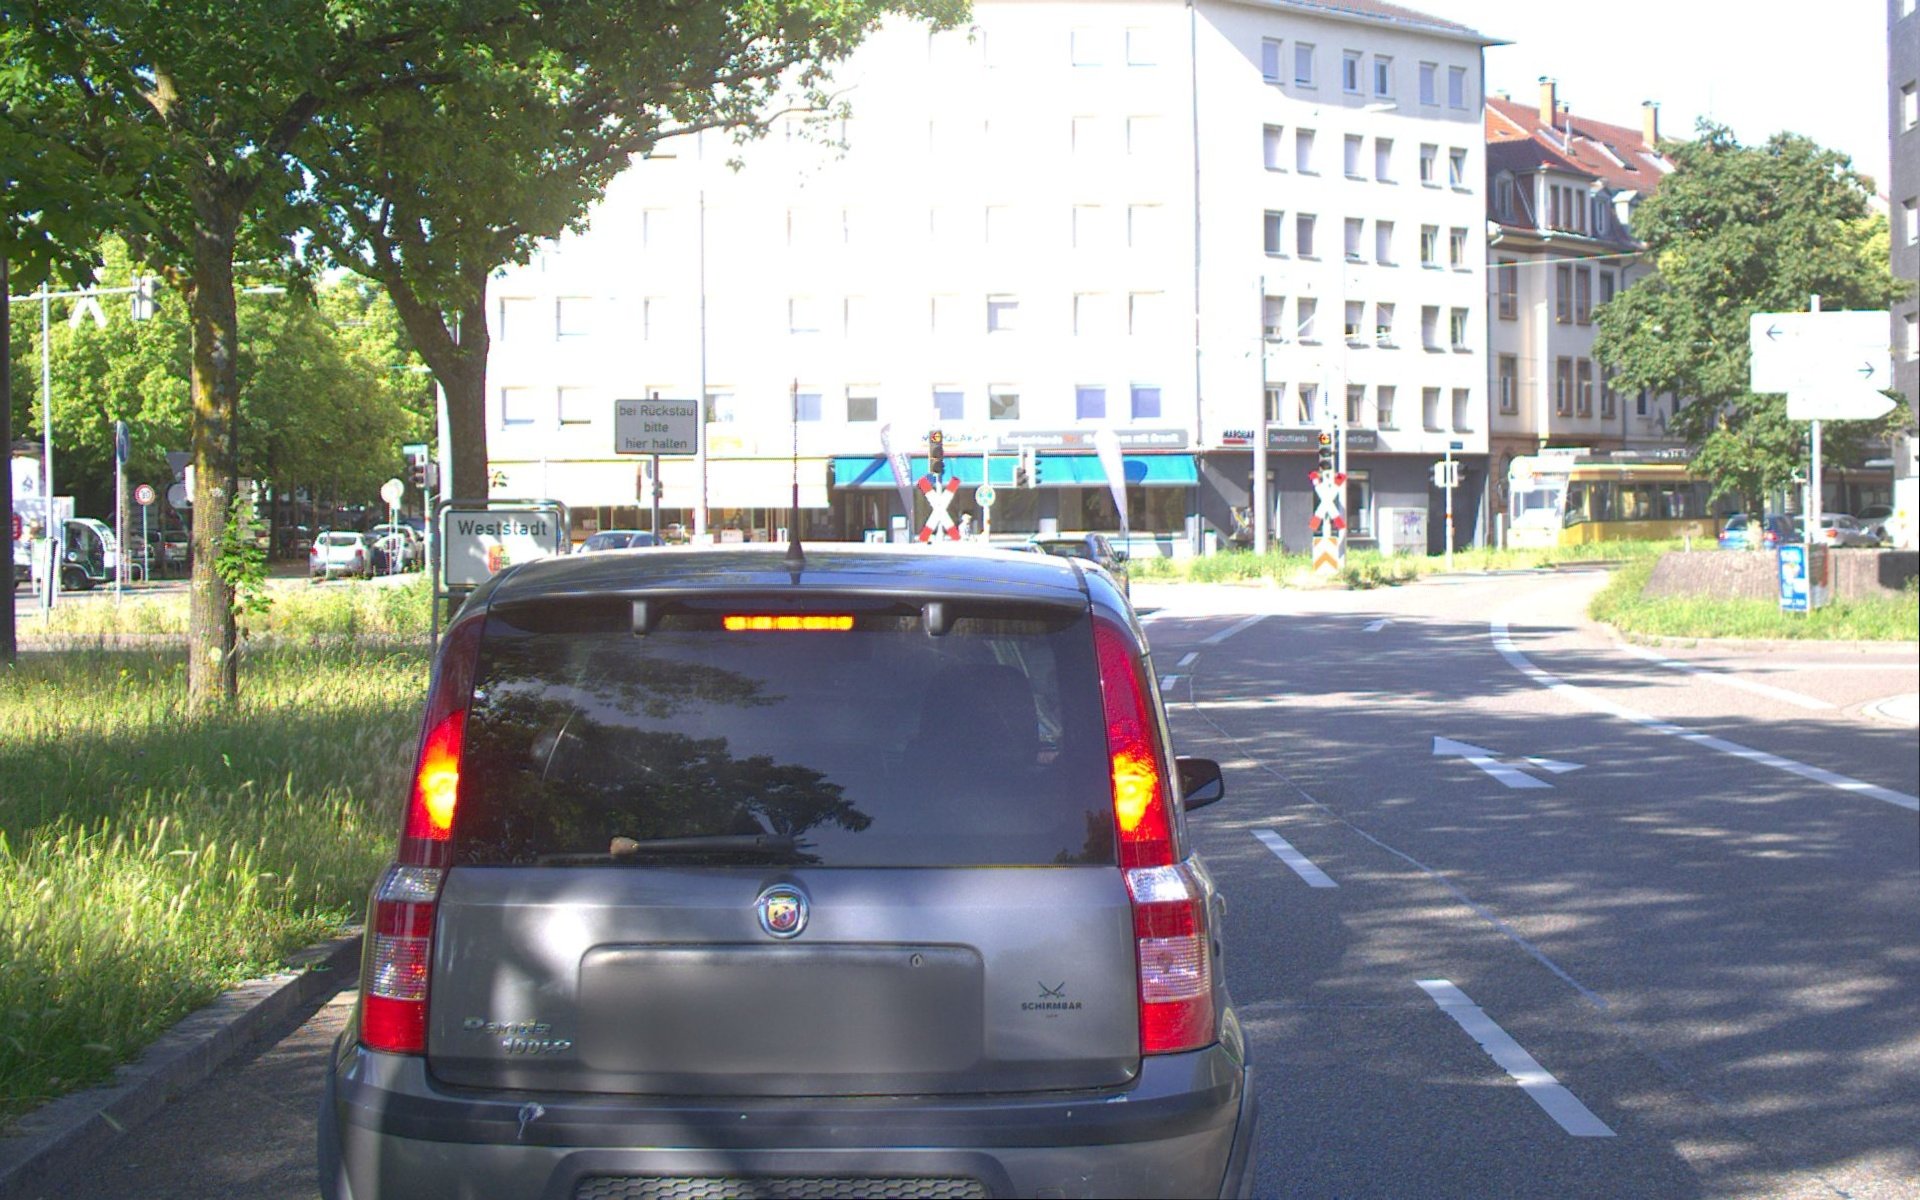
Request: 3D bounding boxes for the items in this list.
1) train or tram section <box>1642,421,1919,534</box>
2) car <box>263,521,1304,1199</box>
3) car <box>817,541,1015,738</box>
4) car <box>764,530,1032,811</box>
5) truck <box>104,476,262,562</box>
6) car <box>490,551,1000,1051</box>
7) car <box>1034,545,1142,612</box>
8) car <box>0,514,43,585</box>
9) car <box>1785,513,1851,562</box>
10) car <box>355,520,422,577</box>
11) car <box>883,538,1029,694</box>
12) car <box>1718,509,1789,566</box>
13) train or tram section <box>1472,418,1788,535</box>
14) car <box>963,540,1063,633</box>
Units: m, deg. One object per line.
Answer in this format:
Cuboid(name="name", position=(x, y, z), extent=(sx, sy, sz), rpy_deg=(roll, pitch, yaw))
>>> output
Cuboid(name="train or tram section", position=(30.253, -4.379, 124.825), extent=(3.302, 3.757, 20.771), rpy_deg=(0, 2, 33))
Cuboid(name="car", position=(-0.296, 0.595, 7.418), extent=(1.628, 1.503, 4.000), rpy_deg=(-1, 1, -1))
Cuboid(name="car", position=(-0.345, 0.265, 27.280), extent=(1.463, 1.420, 3.381), rpy_deg=(0, 2, -1))
Cuboid(name="car", position=(-0.358, 0.353, 20.679), extent=(1.463, 1.503, 3.505), rpy_deg=(0, 2, -1))
Cuboid(name="truck", position=(-28.889, -2.997, 127.771), extent=(5.485, 3.158, 2.340), rpy_deg=(0, 1, 28))
Cuboid(name="car", position=(-0.640, 0.557, 11.640), extent=(1.463, 1.396, 3.393), rpy_deg=(0, 1, -1))
Cuboid(name="car", position=(2.168, -0.372, 57.670), extent=(1.143, 1.060, 2.719), rpy_deg=(0, 1, 17))
Cuboid(name="car", position=(-28.549, -1.435, 98.252), extent=(4.176, 2.007, 1.932), rpy_deg=(-1, 1, -2))
Cuboid(name="car", position=(23.444, -1.719, 93.884), extent=(1.528, 1.310, 3.285), rpy_deg=(0, 2, 18))
Cuboid(name="car", position=(-20.524, -1.872, 123.581), extent=(1.993, 2.007, 4.001), rpy_deg=(-1, 1, -4))
Cuboid(name="car", position=(-0.060, 0.120, 33.863), extent=(1.356, 1.444, 3.266), rpy_deg=(-1, 1, -1))
Cuboid(name="car", position=(20.875, -1.661, 90.392), extent=(1.683, 1.444, 3.569), rpy_deg=(0, 1, 15))
Cuboid(name="train or tram section", position=(22.228, -3.962, 112.268), extent=(3.301, 3.501, 19.349), rpy_deg=(0, 2, 32))
Cuboid(name="car", position=(0.747, -0.214, 49.596), extent=(1.356, 1.277, 2.876), rpy_deg=(0, 1, -1))
